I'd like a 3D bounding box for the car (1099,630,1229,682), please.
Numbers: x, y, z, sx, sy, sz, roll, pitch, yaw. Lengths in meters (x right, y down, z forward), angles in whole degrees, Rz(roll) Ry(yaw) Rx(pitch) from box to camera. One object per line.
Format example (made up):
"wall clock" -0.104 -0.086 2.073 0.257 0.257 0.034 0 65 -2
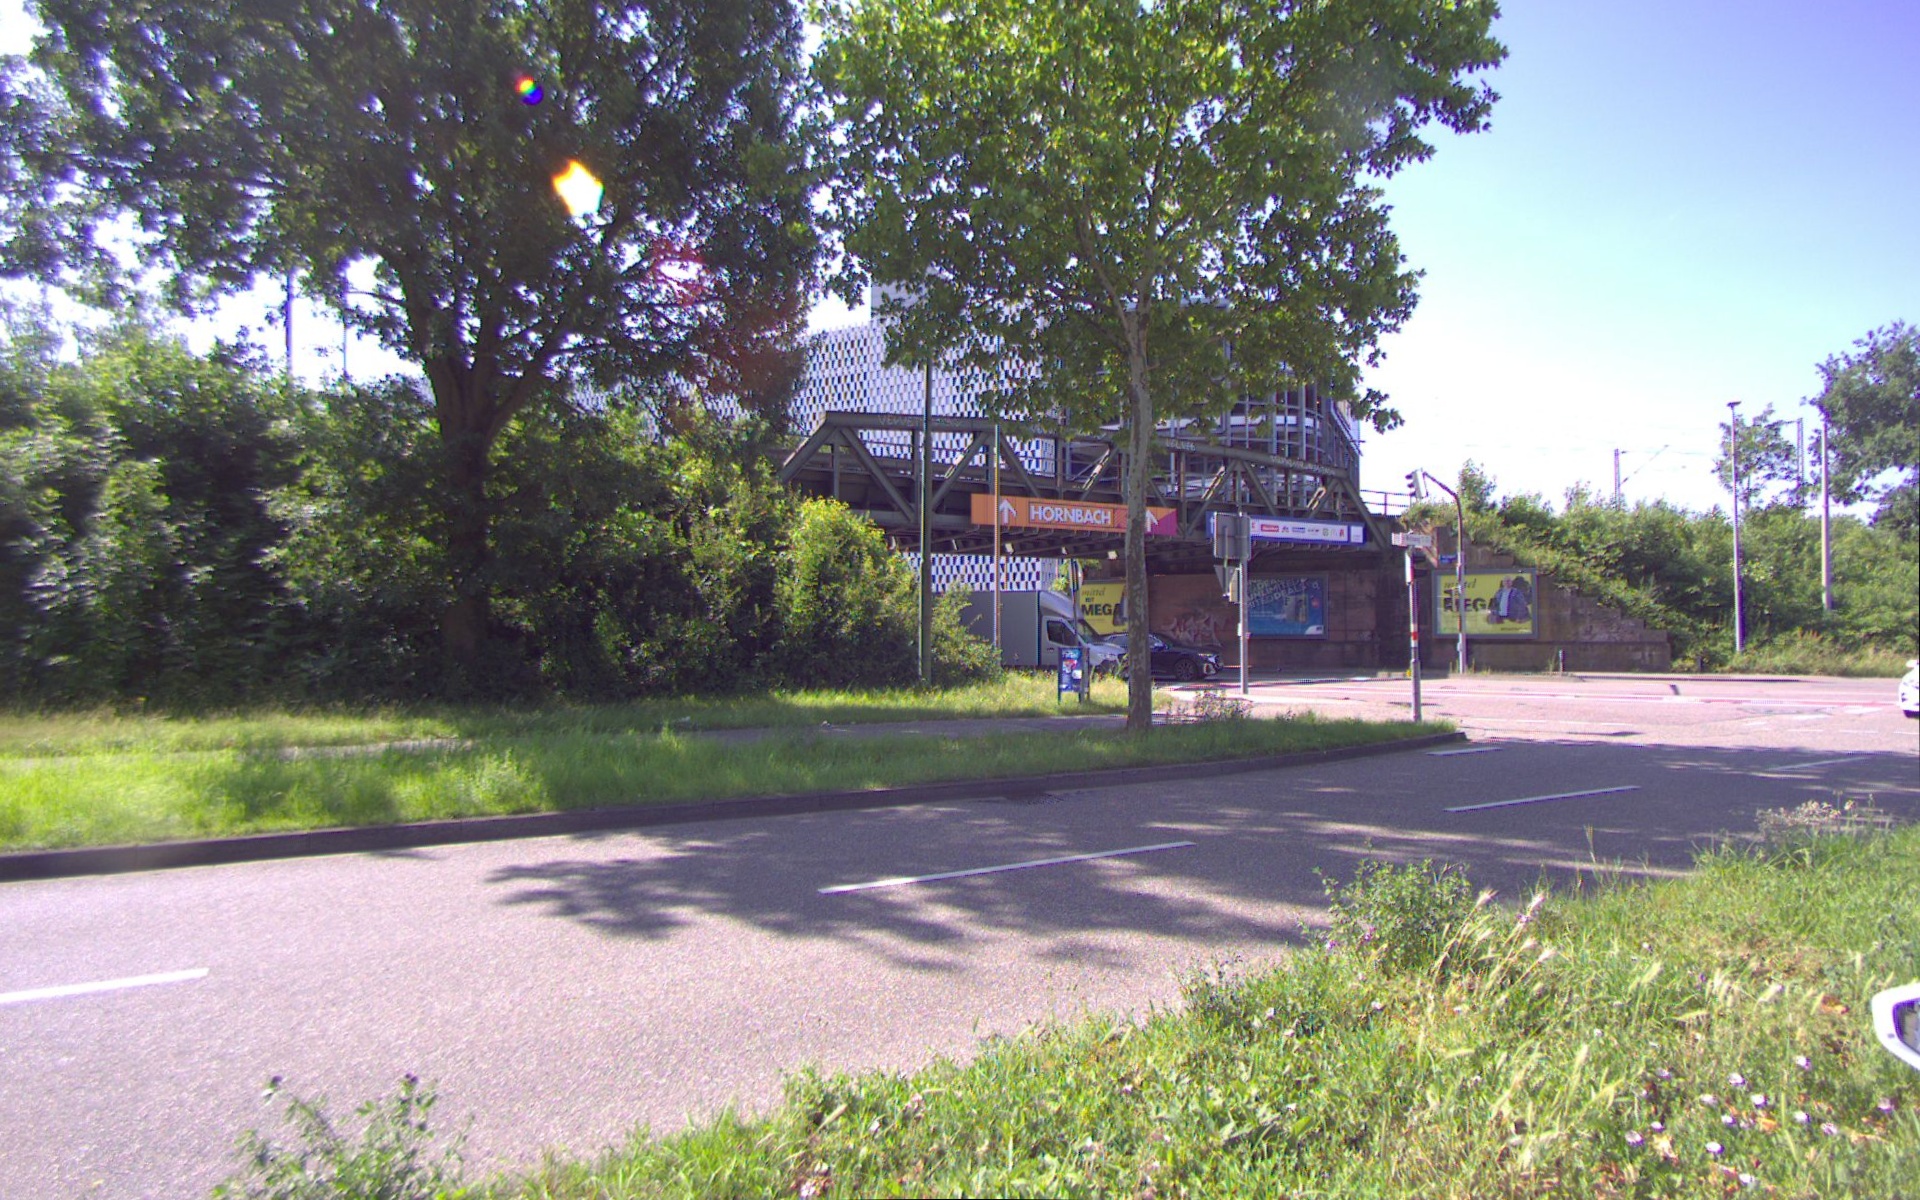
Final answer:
"car" 6.948 1.891 34.222 3.926 1.668 1.902 -2 -2 27

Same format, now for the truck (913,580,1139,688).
"truck" 2.019 1.117 31.726 6.739 3.146 2.216 -2 -2 27

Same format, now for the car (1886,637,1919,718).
"car" 20.191 1.498 19.859 3.953 1.528 1.692 1 -2 -30
